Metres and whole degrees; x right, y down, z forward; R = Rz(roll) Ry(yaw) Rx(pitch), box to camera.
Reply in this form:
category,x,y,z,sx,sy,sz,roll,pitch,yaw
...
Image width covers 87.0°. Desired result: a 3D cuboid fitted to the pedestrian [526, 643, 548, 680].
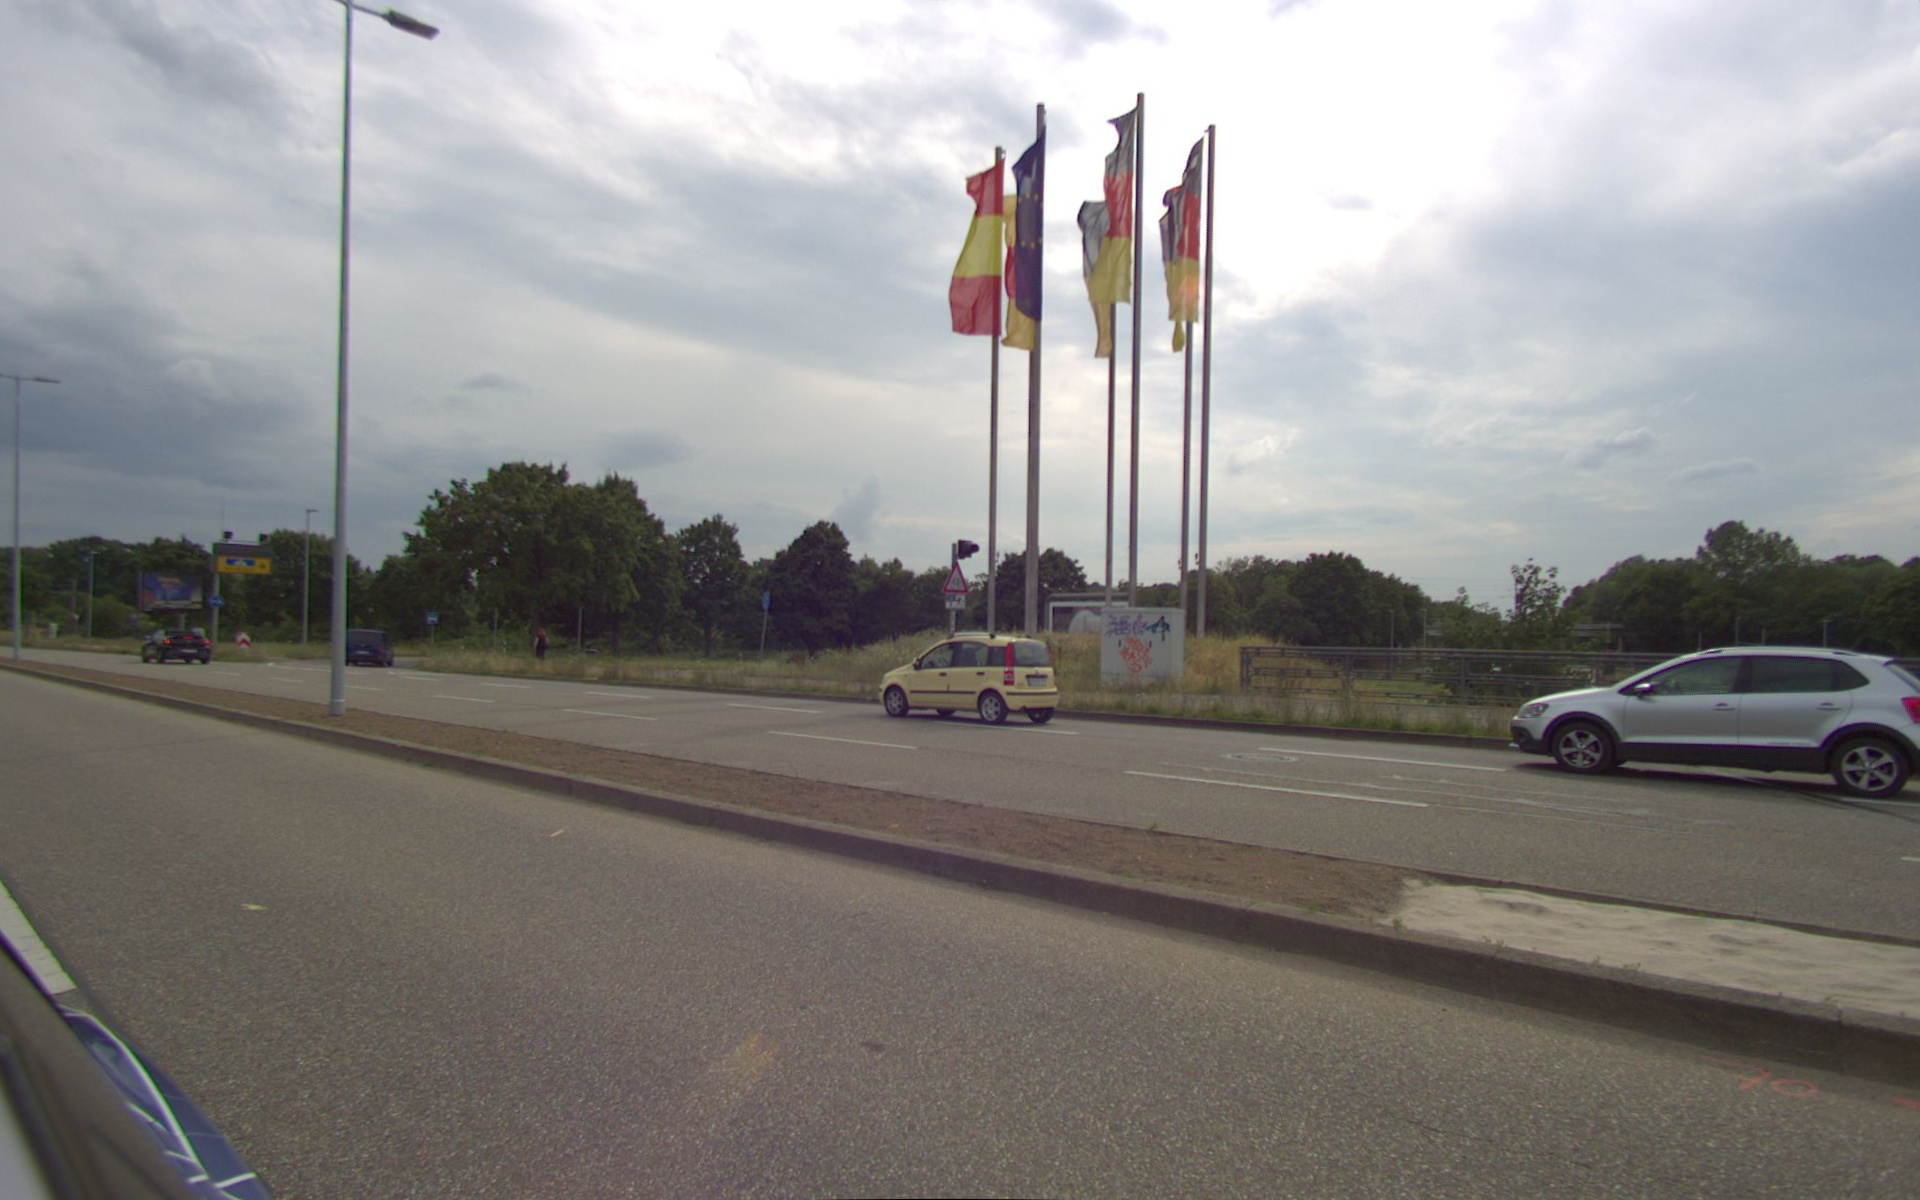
category,x,y,z,sx,sy,sz,roll,pitch,yaw
pedestrian,-19.898,2.893,47.591,0.853,1.706,0.681,2,-3,-18

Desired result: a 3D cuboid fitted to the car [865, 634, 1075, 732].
category,x,y,z,sx,sy,sz,roll,pitch,yaw
car,0.122,1.428,18.287,3.688,1.590,1.532,-2,-4,41

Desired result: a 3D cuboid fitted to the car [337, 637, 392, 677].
category,x,y,z,sx,sy,sz,roll,pitch,yaw
car,-31.132,2.966,53.035,1.821,1.908,5.522,3,-4,-25

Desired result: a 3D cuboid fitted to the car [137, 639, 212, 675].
category,x,y,z,sx,sy,sz,roll,pitch,yaw
car,-33.988,2.443,43.748,4.174,1.452,1.745,-2,-4,41

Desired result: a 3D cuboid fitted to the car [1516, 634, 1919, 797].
category,x,y,z,sx,sy,sz,roll,pitch,yaw
car,8.508,1.155,11.059,4.014,1.527,1.632,-2,-4,42
